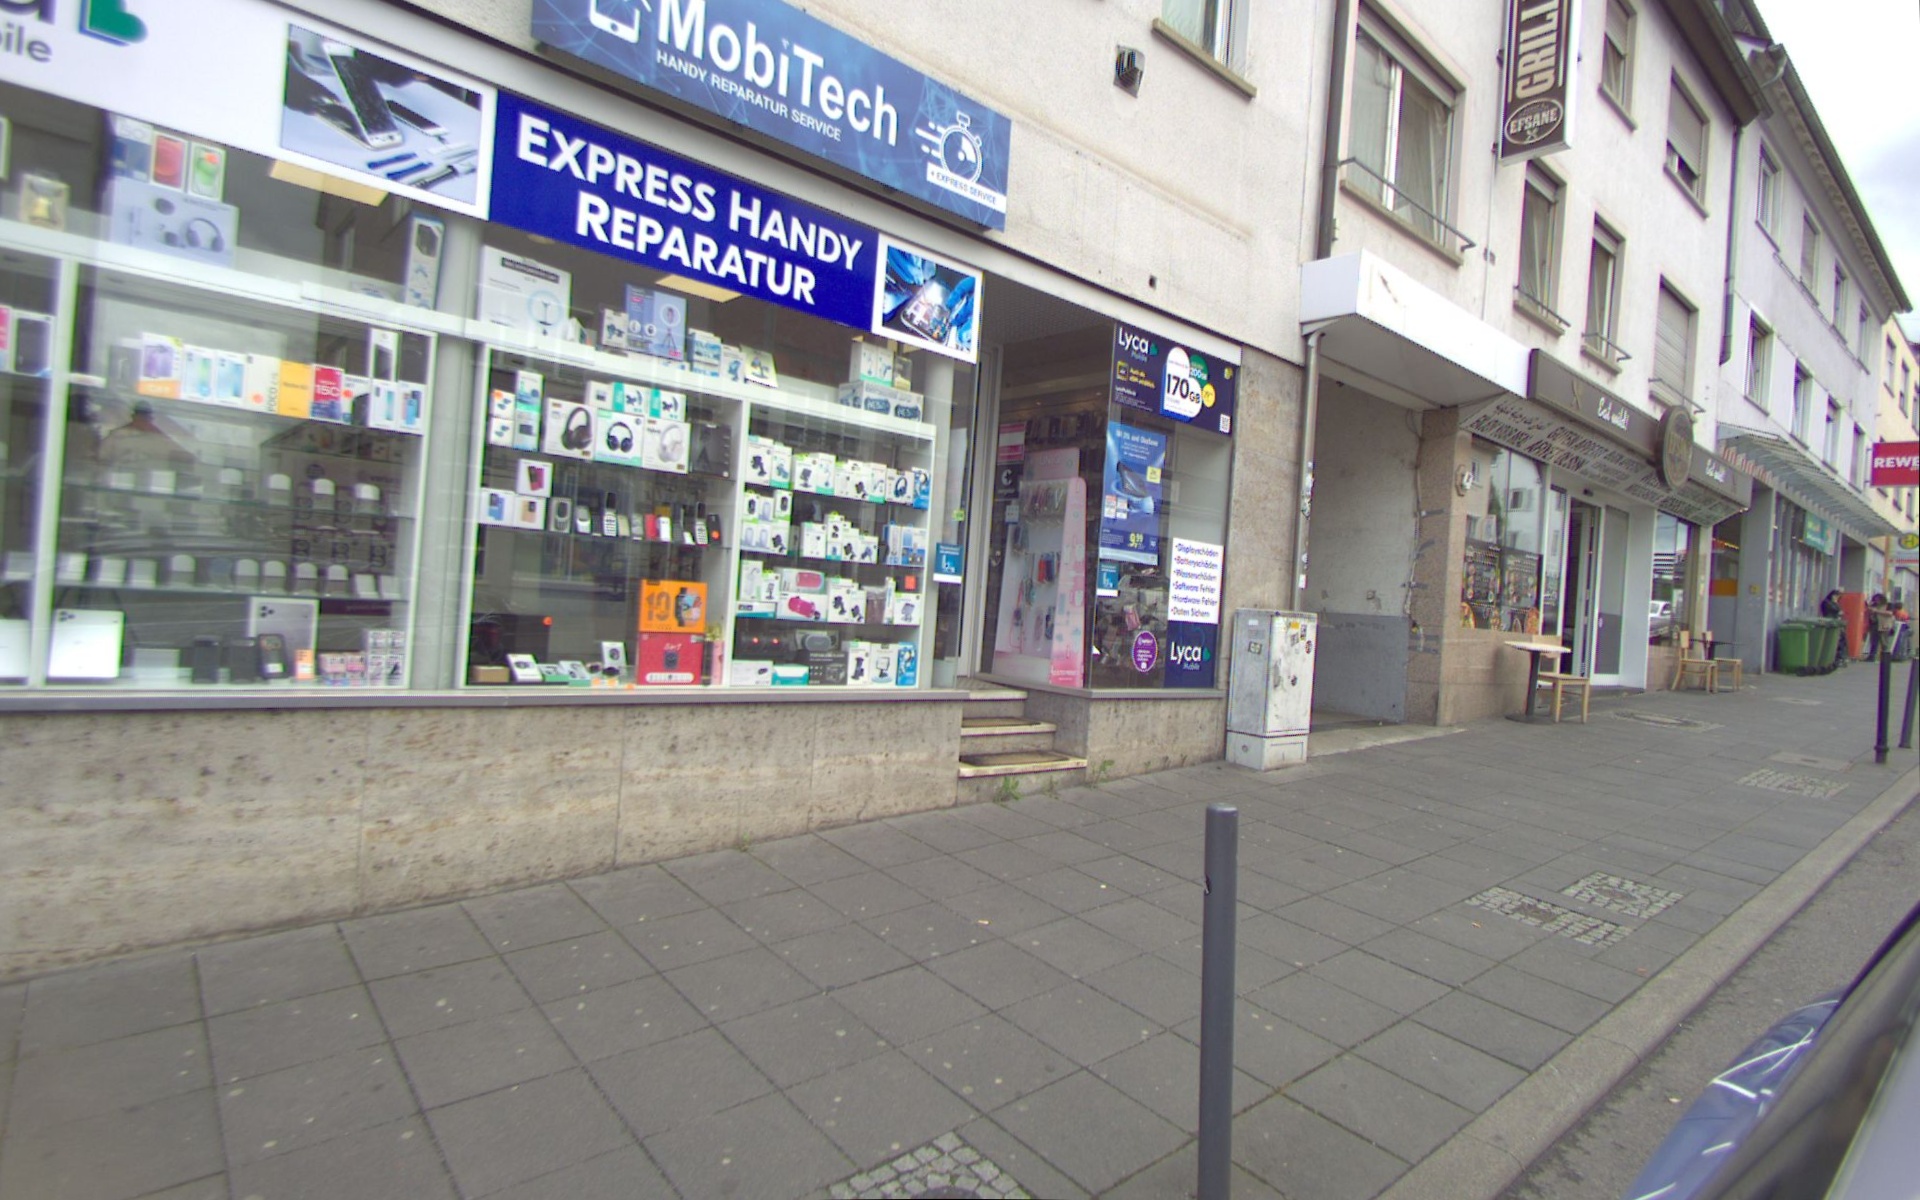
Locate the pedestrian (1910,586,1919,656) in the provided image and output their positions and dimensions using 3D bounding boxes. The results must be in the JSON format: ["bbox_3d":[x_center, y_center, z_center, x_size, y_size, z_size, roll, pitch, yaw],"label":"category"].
[{"bbox_3d":[25.522,0.554,26.570,0.618,1.845,0.604,0,0,15],"label":"pedestrian"}]

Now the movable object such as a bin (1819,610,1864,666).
[{"bbox_3d":[17.832,0.757,20.477,0.564,1.072,0.569,1,2,-40],"label":"movable object such as a bin"}]

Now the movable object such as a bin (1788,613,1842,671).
[{"bbox_3d":[16.251,0.791,19.240,0.550,1.043,0.670,1,2,-40],"label":"movable object such as a bin"}]

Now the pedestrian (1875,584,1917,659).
[{"bbox_3d":[22.653,0.503,24.493,0.626,1.746,0.597,5,4,44],"label":"pedestrian"}]

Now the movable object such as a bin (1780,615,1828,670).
[{"bbox_3d":[15.751,0.778,18.890,0.489,0.968,0.568,1,2,-40],"label":"movable object such as a bin"}]

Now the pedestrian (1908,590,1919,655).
[{"bbox_3d":[26.252,0.613,27.430,0.599,1.747,0.623,0,0,20],"label":"pedestrian"}]

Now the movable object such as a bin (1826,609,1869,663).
[{"bbox_3d":[18.273,0.738,20.844,0.549,1.070,0.560,1,2,-40],"label":"movable object such as a bin"}]

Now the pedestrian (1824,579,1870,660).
[{"bbox_3d":[19.410,0.411,22.149,0.621,1.747,0.601,0,0,27],"label":"pedestrian"}]

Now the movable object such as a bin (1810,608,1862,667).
[{"bbox_3d":[17.361,0.730,20.055,0.648,1.094,0.652,1,2,-40],"label":"movable object such as a bin"}]

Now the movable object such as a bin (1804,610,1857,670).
[{"bbox_3d":[16.843,0.766,19.579,0.661,1.094,0.652,1,2,-40],"label":"movable object such as a bin"}]
